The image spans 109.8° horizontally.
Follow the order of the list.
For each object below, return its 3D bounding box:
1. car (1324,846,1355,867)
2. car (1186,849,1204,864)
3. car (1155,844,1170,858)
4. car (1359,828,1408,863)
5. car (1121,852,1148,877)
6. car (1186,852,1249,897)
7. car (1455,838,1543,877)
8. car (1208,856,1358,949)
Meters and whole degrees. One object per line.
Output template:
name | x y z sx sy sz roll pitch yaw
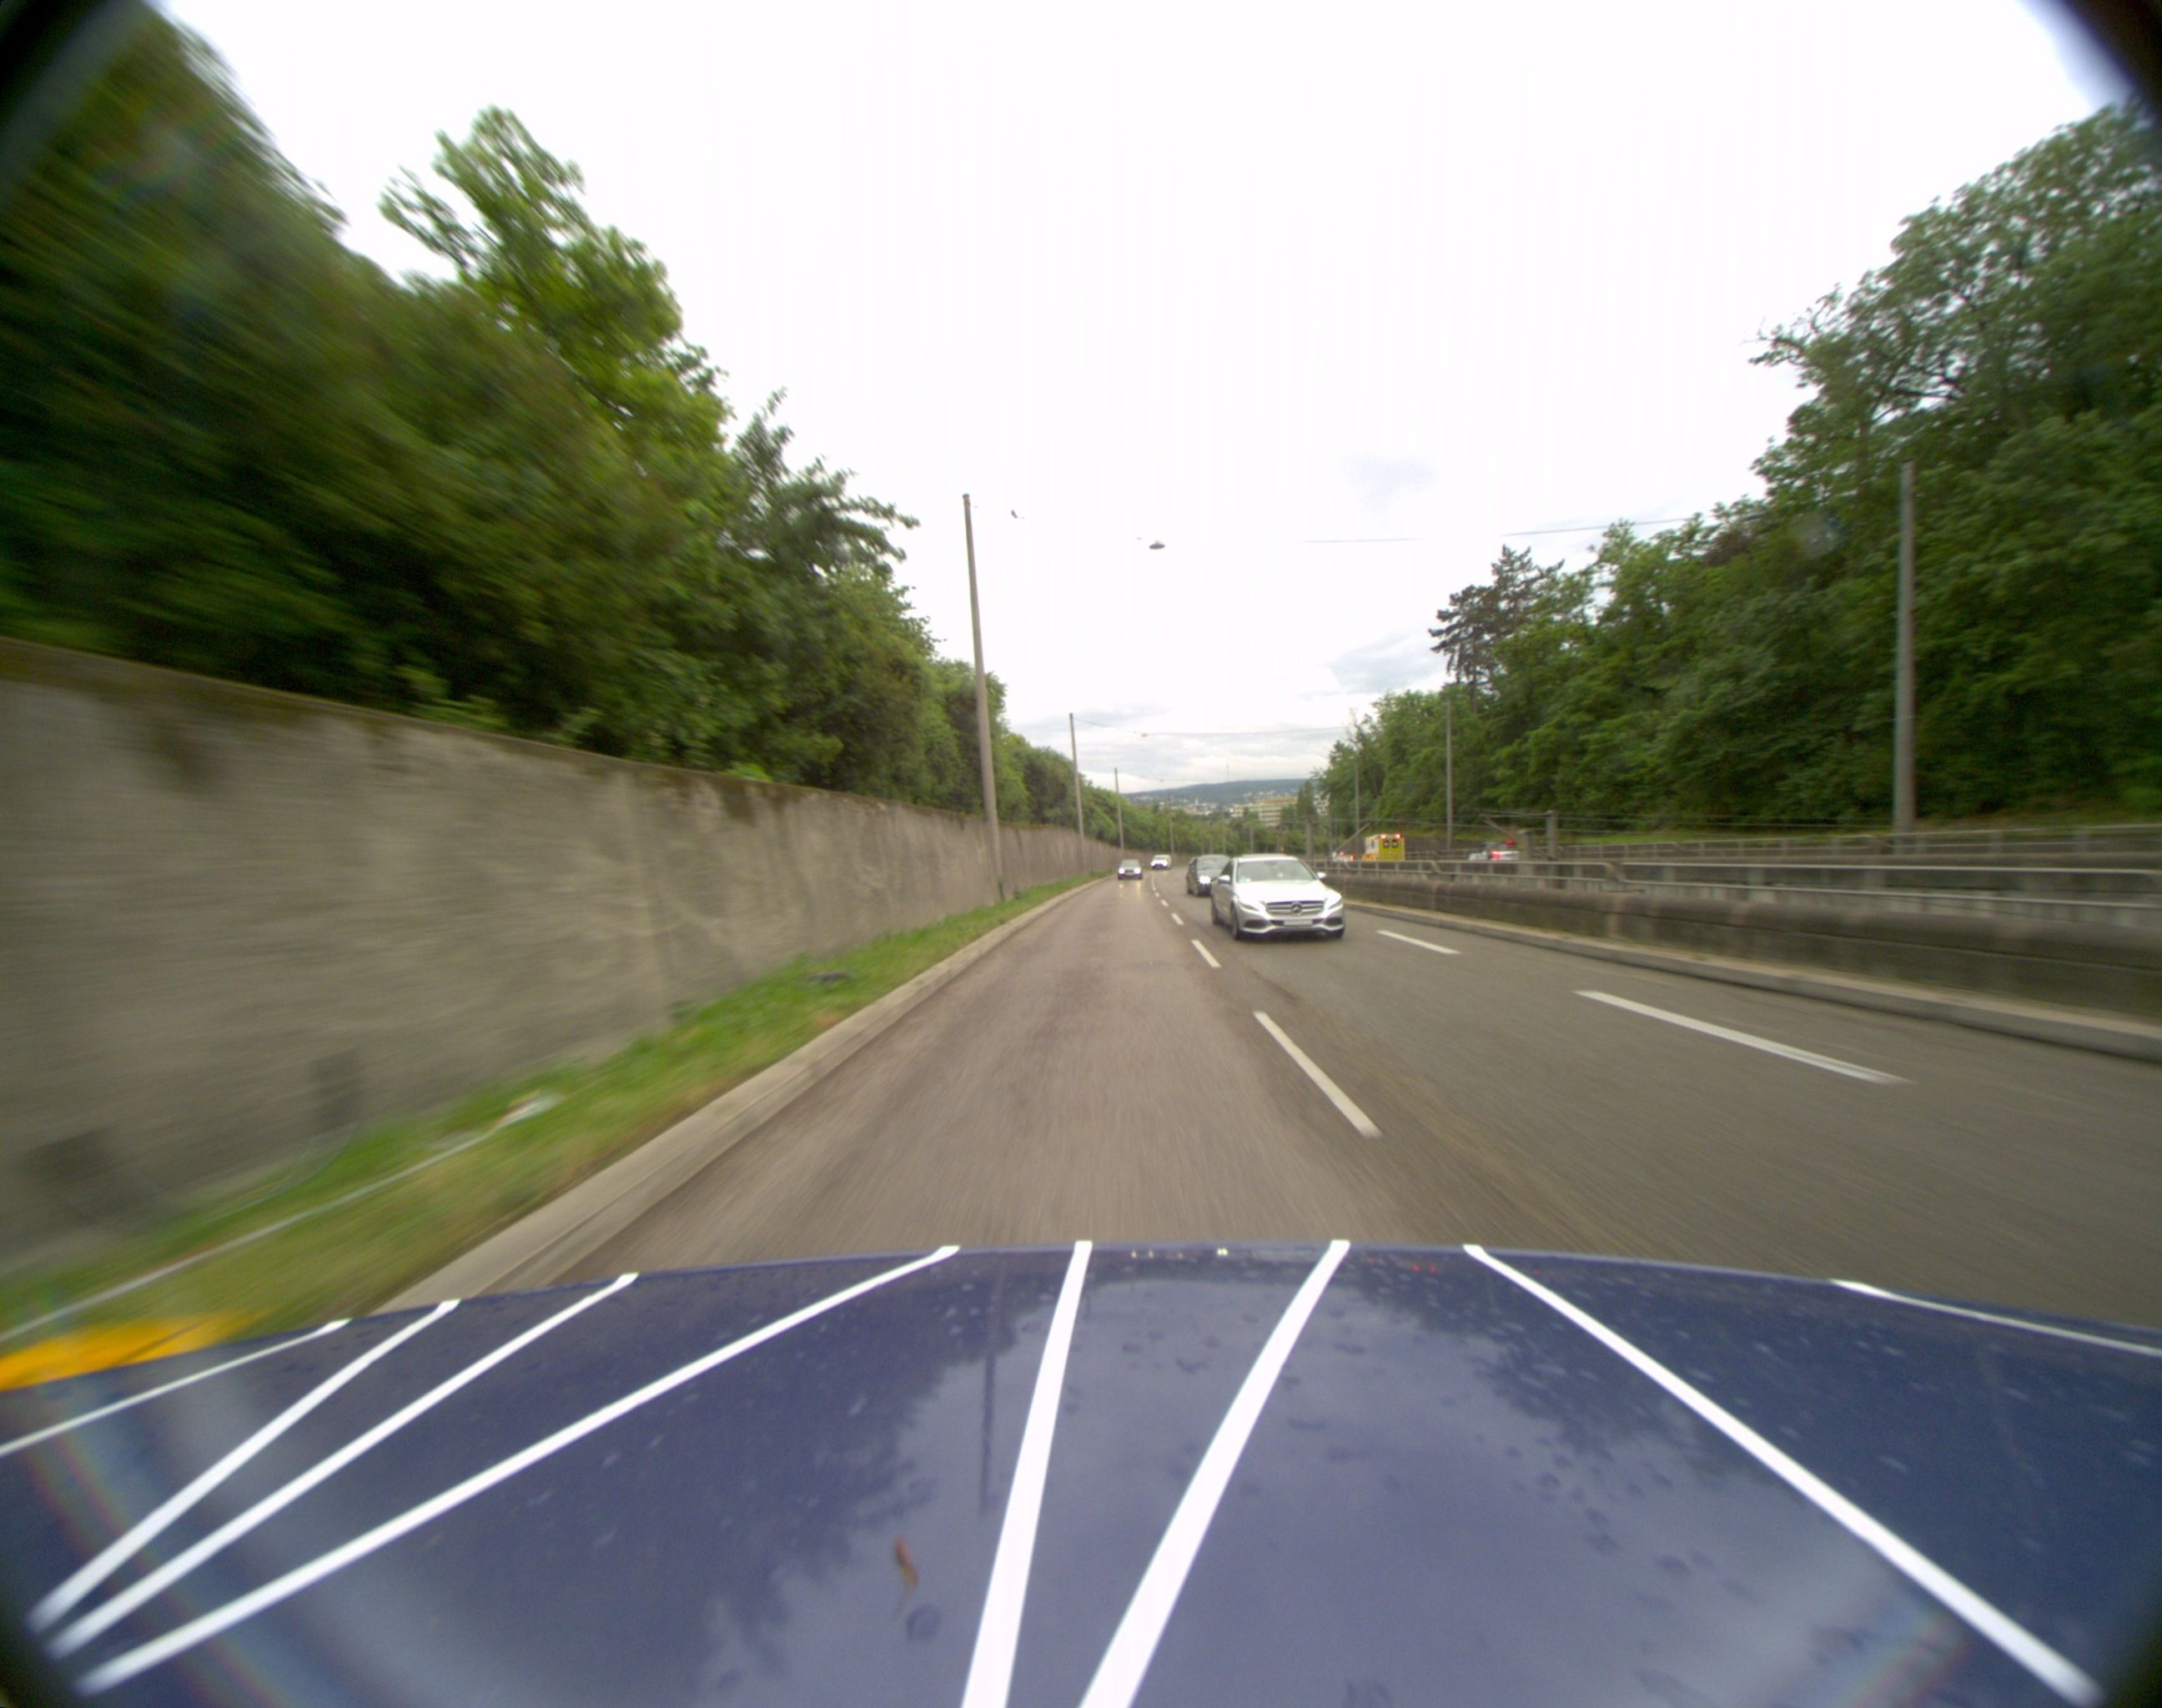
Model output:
car | 21.822 0.203 64.261 1.821 1.694 4.113 -1 1 10
car | 16.039 0.360 106.733 1.996 2.002 4.499 -1 0 14
car | 10.520 -0.402 97.612 1.809 1.501 4.001 -4 2 7
car | 24.872 -0.701 62.815 2.187 2.718 6.347 -1 1 7
car | 3.856 0.714 54.495 1.809 1.501 4.000 -4 2 5
car | 4.862 0.694 27.600 1.729 1.462 3.888 -2 0 3
car | 19.645 0.143 35.902 1.966 1.740 4.141 -1 1 2
car | 3.545 0.774 14.159 1.861 1.395 4.316 -2 0 3
